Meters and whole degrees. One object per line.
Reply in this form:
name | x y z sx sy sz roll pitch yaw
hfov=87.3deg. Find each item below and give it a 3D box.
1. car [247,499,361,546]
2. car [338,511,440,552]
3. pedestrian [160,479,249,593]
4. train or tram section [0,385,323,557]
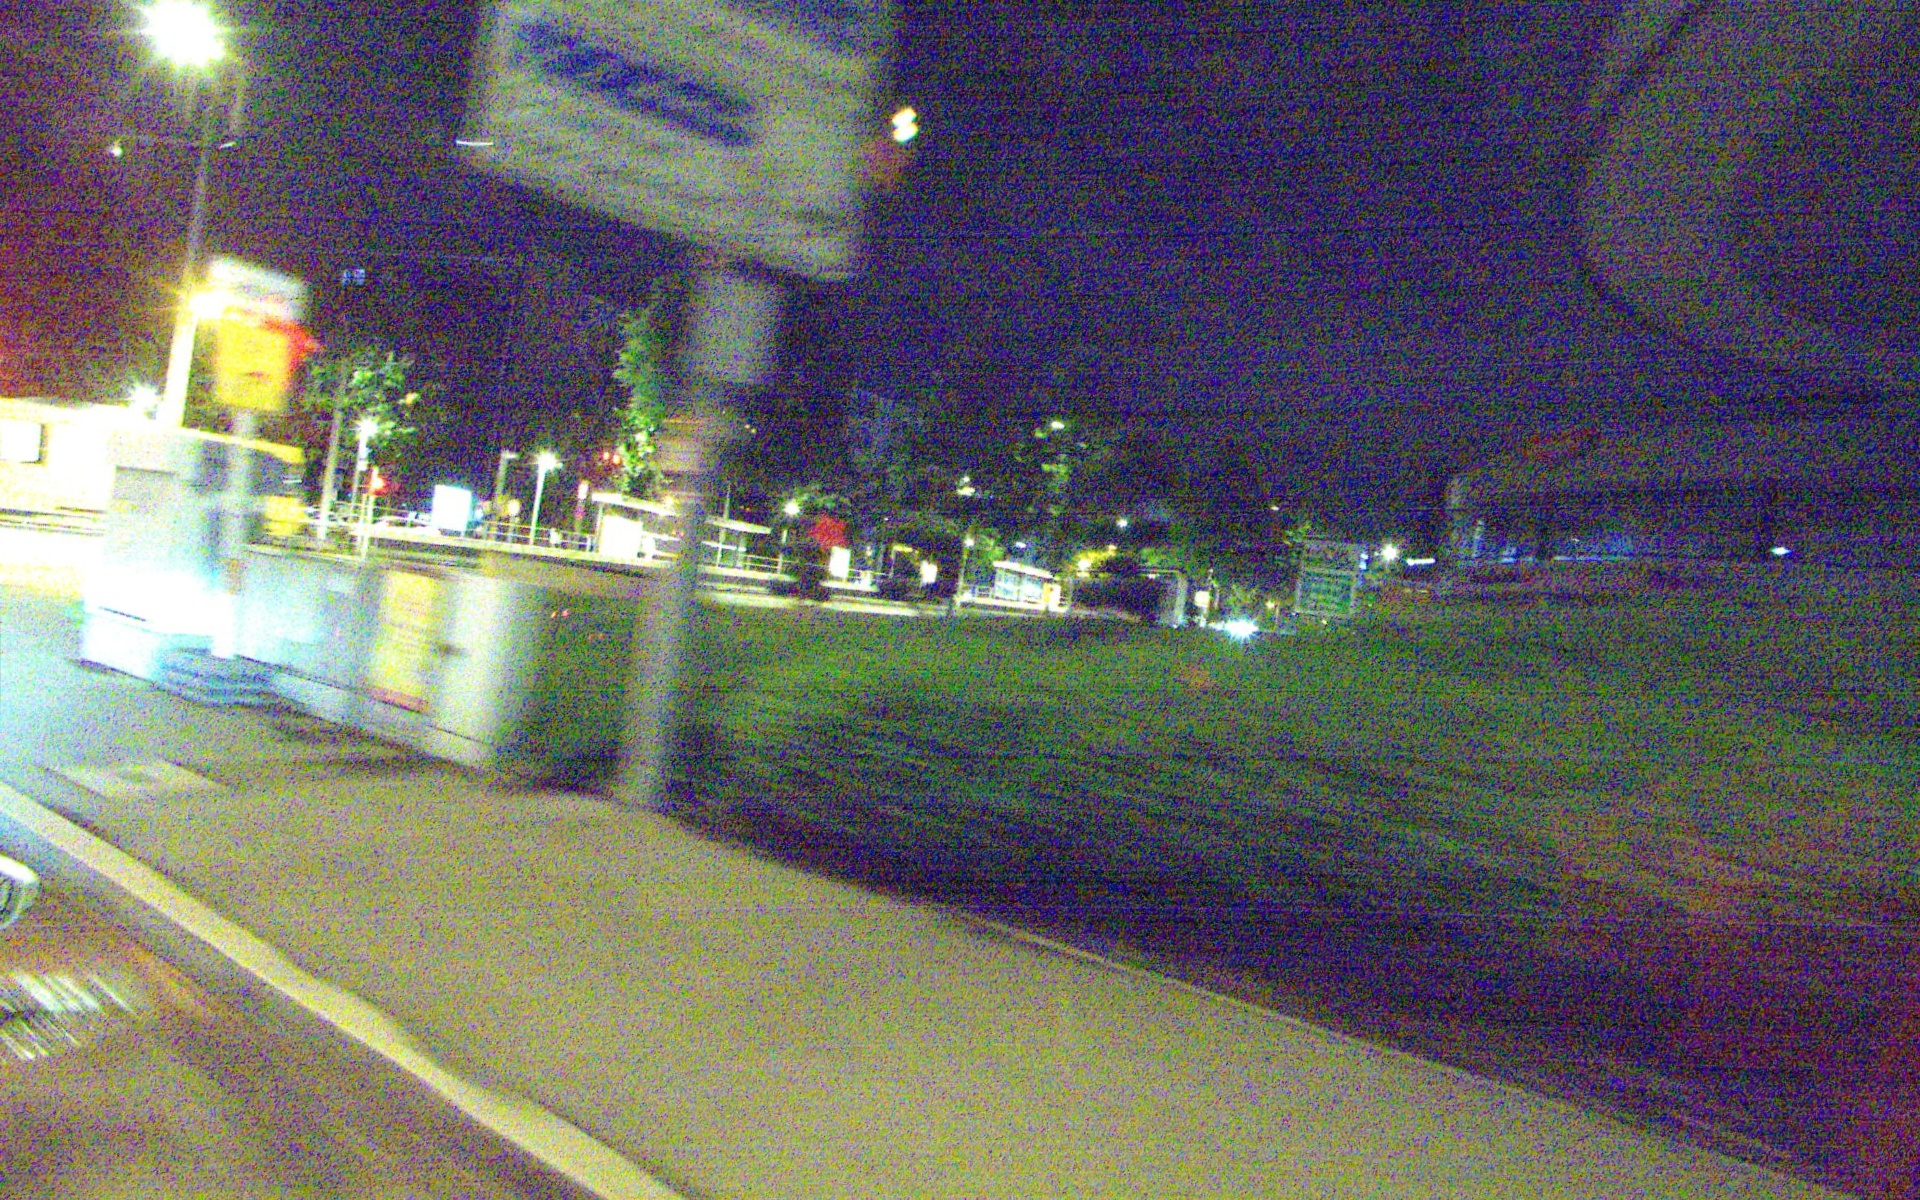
car | -28.554 -3.367 43.840 1.733 1.547 3.758 8 2 40
car | -28.293 -3.364 49.879 1.859 1.595 3.976 8 3 42
pedestrian | -12.327 -1.037 16.419 0.763 1.734 0.899 7 2 37
train or tram section | -28.816 -4.284 27.638 2.879 3.870 19.168 7 0 37
